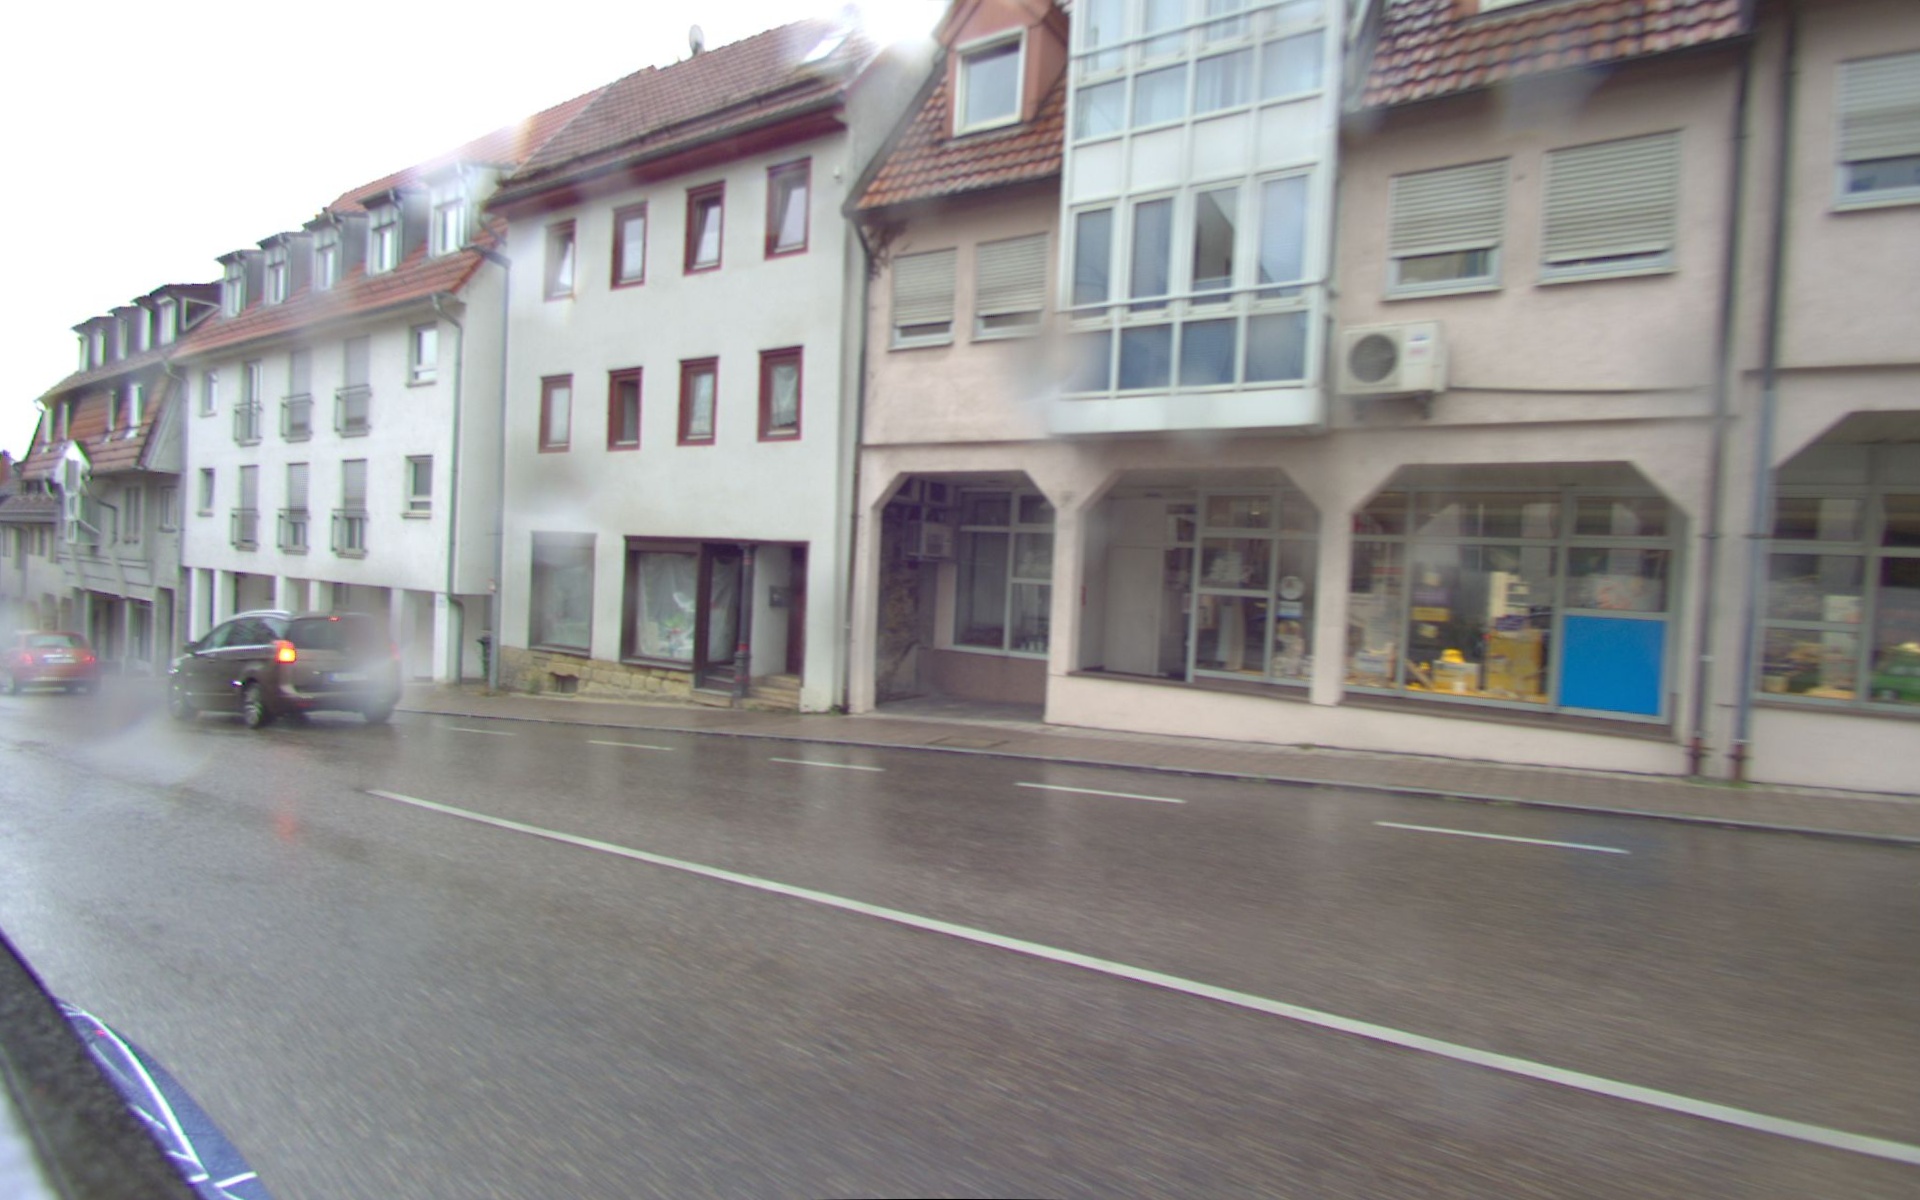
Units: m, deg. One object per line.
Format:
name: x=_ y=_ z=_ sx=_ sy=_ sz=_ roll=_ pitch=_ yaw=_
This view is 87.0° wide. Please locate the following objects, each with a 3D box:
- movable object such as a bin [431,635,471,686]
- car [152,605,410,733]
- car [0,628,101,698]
movable object such as a bin: x=-10.412 y=1.228 z=20.703 sx=0.584 sy=1.014 sz=0.504 roll=-2 pitch=-2 yaw=35
car: x=-10.097 y=0.942 z=14.959 sx=4.205 sy=1.642 sz=1.767 roll=-1 pitch=-2 yaw=35
car: x=-22.059 y=1.466 z=24.205 sx=3.443 sy=1.547 sz=1.544 roll=-2 pitch=-3 yaw=37
